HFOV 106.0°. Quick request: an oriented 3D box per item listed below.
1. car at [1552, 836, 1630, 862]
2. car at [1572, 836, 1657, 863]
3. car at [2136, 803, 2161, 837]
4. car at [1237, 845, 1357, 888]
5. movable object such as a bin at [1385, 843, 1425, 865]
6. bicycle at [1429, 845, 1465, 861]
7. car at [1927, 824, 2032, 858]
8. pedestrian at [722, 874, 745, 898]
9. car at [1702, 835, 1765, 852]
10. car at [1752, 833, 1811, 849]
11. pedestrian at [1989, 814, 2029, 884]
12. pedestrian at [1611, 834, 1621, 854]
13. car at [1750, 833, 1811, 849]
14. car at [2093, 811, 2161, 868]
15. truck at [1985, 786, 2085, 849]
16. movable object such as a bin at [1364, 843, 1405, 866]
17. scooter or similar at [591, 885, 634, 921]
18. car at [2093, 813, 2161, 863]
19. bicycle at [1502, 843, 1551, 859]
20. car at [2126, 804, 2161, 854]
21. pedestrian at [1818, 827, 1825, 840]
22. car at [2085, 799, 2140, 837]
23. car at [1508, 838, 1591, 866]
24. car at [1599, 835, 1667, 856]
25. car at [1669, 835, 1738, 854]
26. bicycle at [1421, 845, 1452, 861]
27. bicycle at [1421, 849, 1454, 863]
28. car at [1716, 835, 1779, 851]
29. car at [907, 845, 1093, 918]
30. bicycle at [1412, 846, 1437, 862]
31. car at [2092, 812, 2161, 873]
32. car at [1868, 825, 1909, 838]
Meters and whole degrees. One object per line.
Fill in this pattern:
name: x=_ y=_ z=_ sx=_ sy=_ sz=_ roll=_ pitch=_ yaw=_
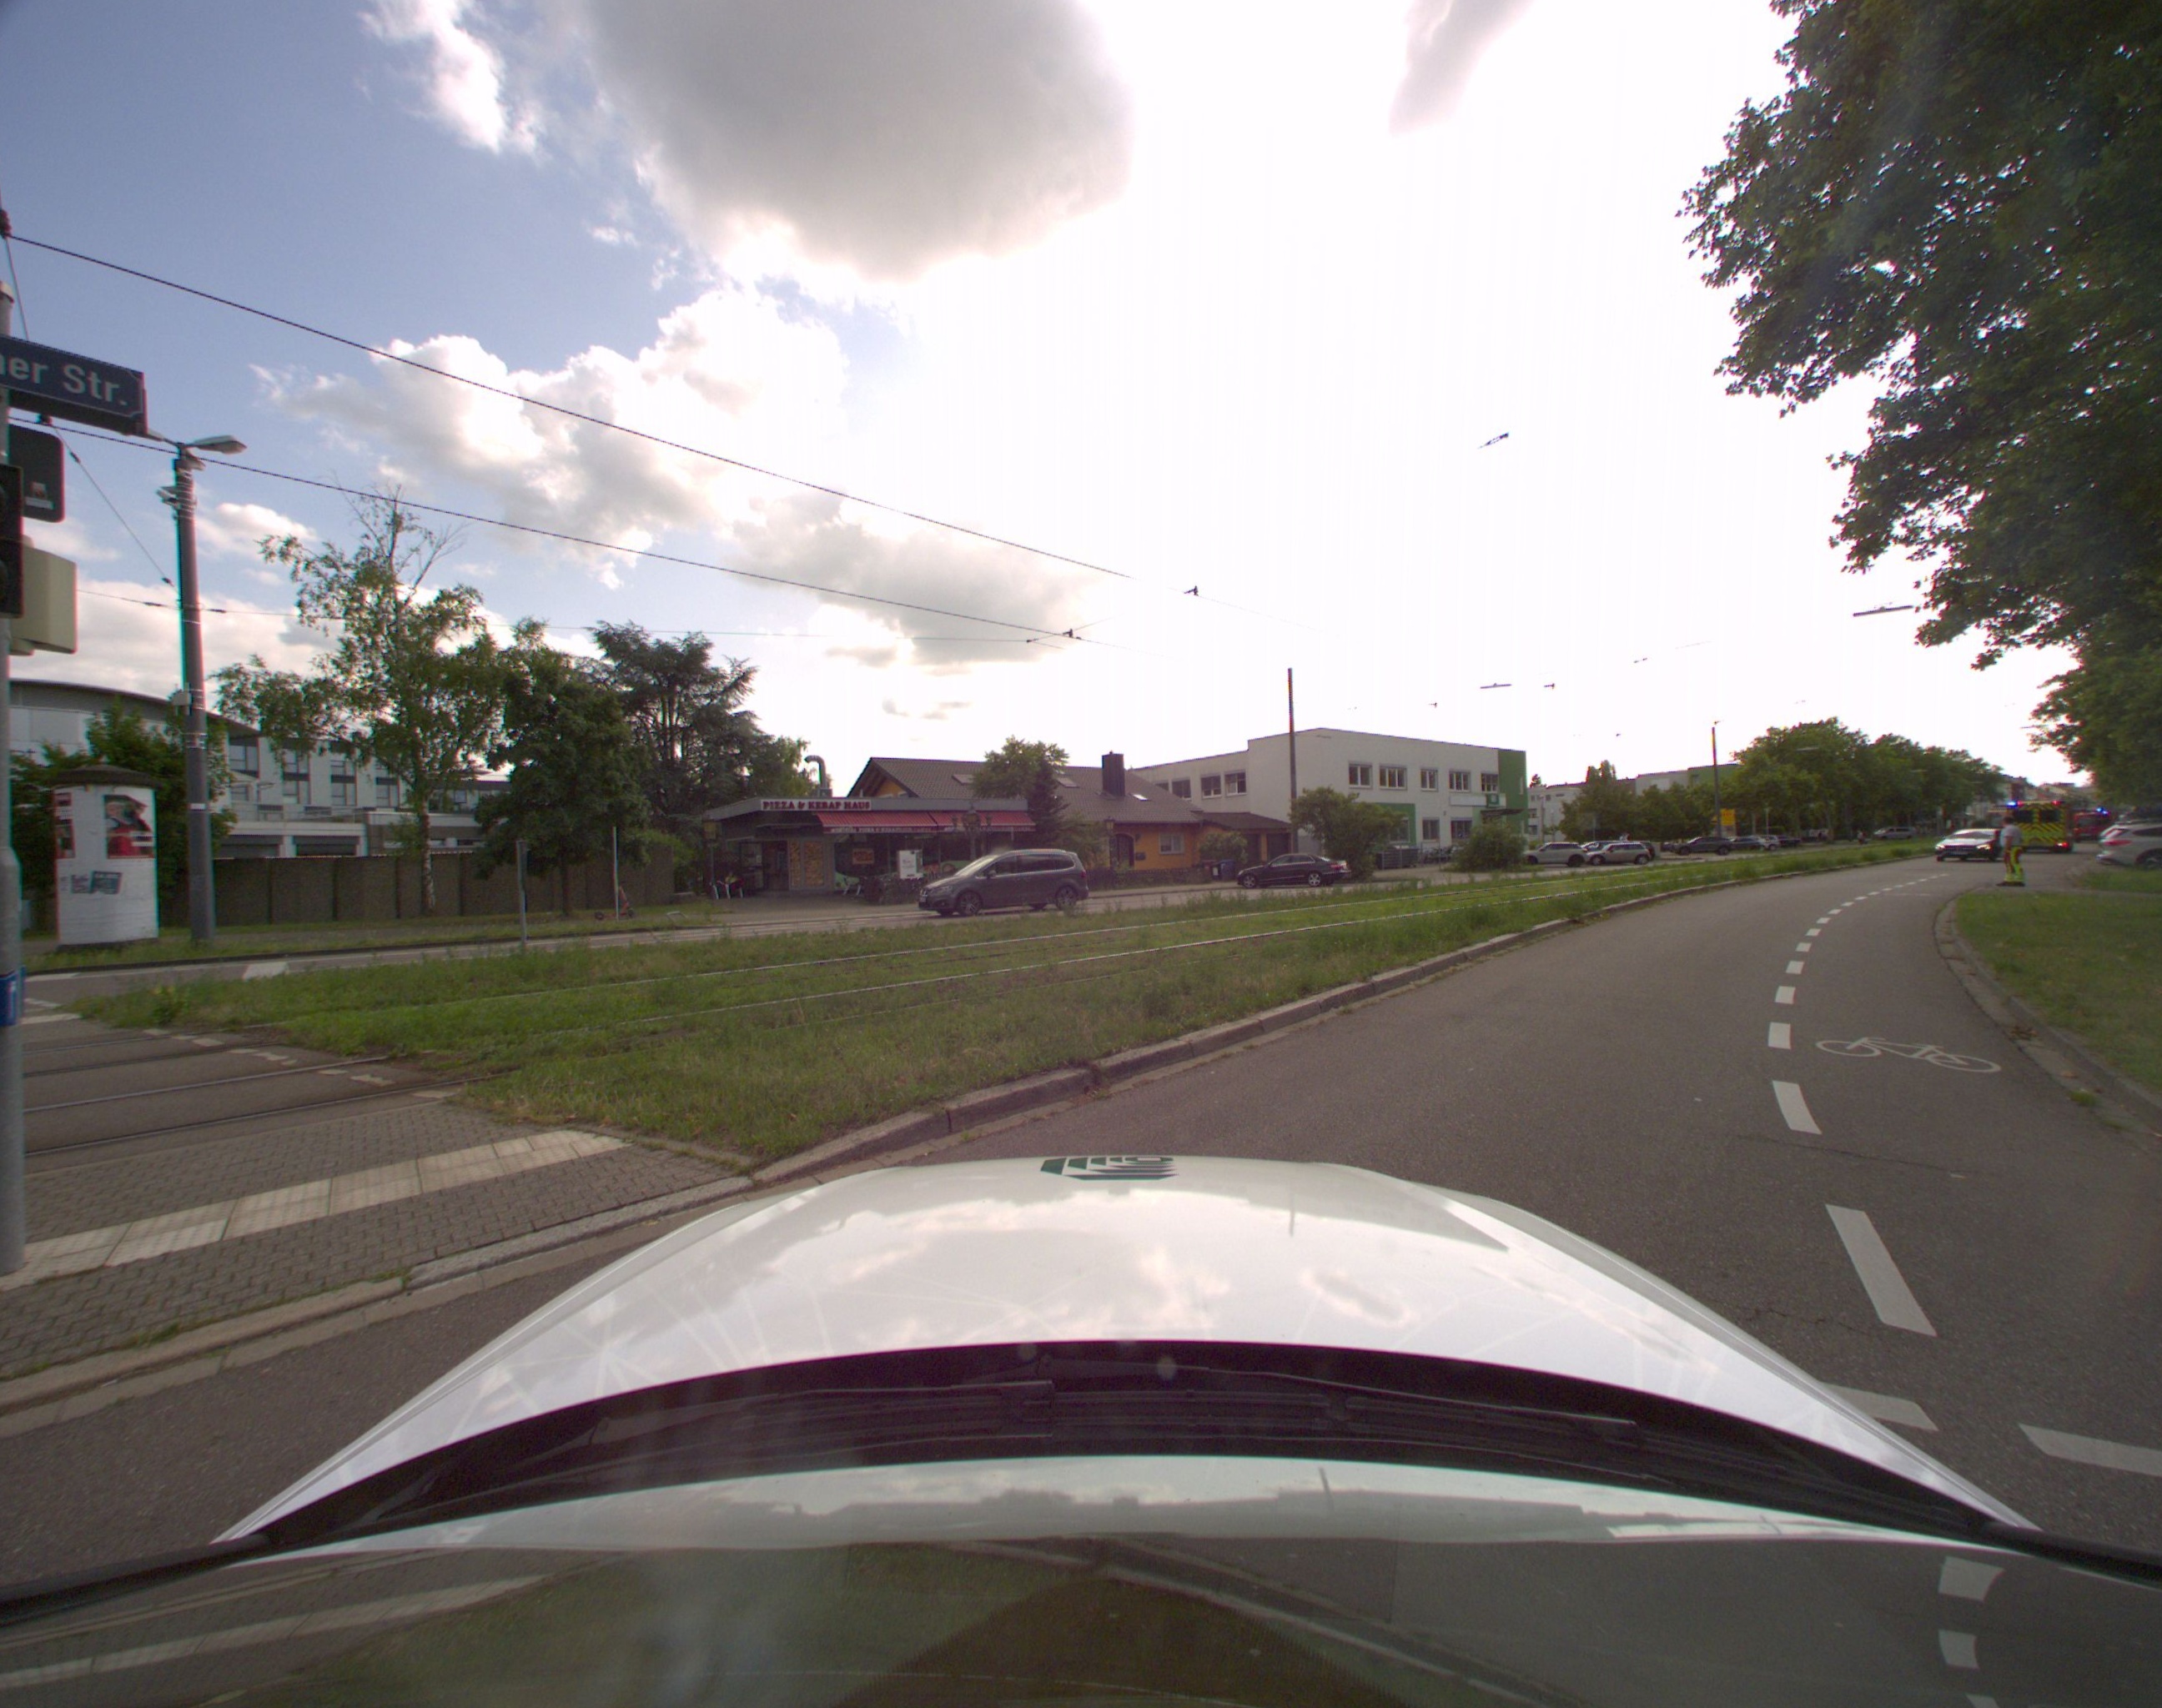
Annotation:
car: x=34.486 y=-0.312 z=55.172 sx=4.261 sy=1.629 sz=1.913 roll=-1 pitch=0 yaw=25
car: x=34.162 y=-0.267 z=52.319 sx=4.263 sy=1.629 sz=1.912 roll=-1 pitch=0 yaw=23
car: x=107.326 y=-3.319 z=78.038 sx=2.991 sy=3.330 sz=7.370 roll=-1 pitch=1 yaw=-42
car: x=9.222 y=0.548 z=34.883 sx=4.520 sy=1.580 sz=2.013 roll=-3 pitch=-1 yaw=33
movable object such as a bin: x=20.722 y=0.018 z=52.016 sx=2.140 sy=1.326 sz=1.362 roll=-2 pitch=0 yaw=-33
bicycle: x=26.731 y=-0.062 z=59.516 sx=0.763 sy=1.166 sz=2.328 roll=-2 pitch=0 yaw=-31
car: x=40.678 y=-0.606 z=36.872 sx=4.612 sy=1.393 sz=1.827 roll=-2 pitch=0 yaw=-24
pedestrian: x=-13.964 y=1.280 z=32.720 sx=0.730 sy=0.929 sz=0.769 roll=-1 pitch=1 yaw=-32
car: x=59.187 y=-0.946 z=73.968 sx=4.259 sy=1.364 sz=1.914 roll=-2 pitch=0 yaw=31
car: x=70.905 y=-1.321 z=82.535 sx=4.259 sy=1.364 sz=1.914 roll=-2 pitch=0 yaw=31
pedestrian: x=22.848 y=-0.115 z=20.043 sx=0.496 sy=1.684 sz=0.581 roll=-1 pitch=0 yaw=-35
pedestrian: x=45.504 y=-0.881 z=69.280 sx=0.590 sy=1.674 sz=0.544 roll=-2 pitch=-1 yaw=44
car: x=67.780 y=-1.239 z=78.995 sx=4.259 sy=1.364 sz=1.914 roll=-2 pitch=0 yaw=31
car: x=33.062 y=-0.457 z=23.689 sx=2.010 sy=1.644 sz=4.491 roll=0 pitch=-1 yaw=-39
truck: x=55.959 y=-2.085 z=47.718 sx=7.556 sy=3.317 sz=3.159 roll=-2 pitch=0 yaw=-36
movable object such as a bin: x=18.888 y=0.052 z=50.725 sx=2.125 sy=1.326 sz=1.362 roll=-2 pitch=0 yaw=-33
scooter or similar: x=-14.687 y=1.527 z=25.543 sx=1.105 sy=1.059 sz=0.399 roll=-1 pitch=1 yaw=-22
car: x=37.121 y=-0.559 z=26.953 sx=2.010 sy=1.644 sz=4.491 roll=0 pitch=-1 yaw=-39
bicycle: x=34.353 y=-0.235 z=62.850 sx=1.148 sy=1.166 sz=3.107 roll=-2 pitch=0 yaw=-41
car: x=45.405 y=-1.081 z=32.463 sx=2.009 sy=2.014 sz=4.507 roll=-1 pitch=-1 yaw=-36
pedestrian: x=100.499 y=-2.777 z=110.481 sx=0.649 sy=1.729 sz=0.615 roll=-1 pitch=1 yaw=-37
car: x=93.651 y=-3.191 z=73.984 sx=7.495 sy=3.330 sz=2.941 roll=-1 pitch=1 yaw=-38
car: x=29.579 y=-0.118 z=51.555 sx=4.265 sy=1.629 sz=1.912 roll=-2 pitch=0 yaw=20
car: x=41.429 y=-0.638 z=61.284 sx=4.116 sy=1.504 sz=1.872 roll=-1 pitch=0 yaw=31
car: x=51.328 y=-0.781 z=67.217 sx=4.260 sy=1.364 sz=1.914 roll=-2 pitch=0 yaw=29
bicycle: x=24.667 y=-0.059 z=56.526 sx=0.740 sy=1.081 sz=1.776 roll=-2 pitch=0 yaw=-39
bicycle: x=25.869 y=0.148 z=59.151 sx=0.733 sy=0.970 sz=2.137 roll=-2 pitch=0 yaw=-32
car: x=61.989 y=-0.998 z=75.788 sx=4.259 sy=1.364 sz=1.914 roll=-2 pitch=0 yaw=31
car: x=-2.219 y=0.696 z=22.697 sx=4.755 sy=1.722 sz=1.981 roll=-2 pitch=0 yaw=-30
bicycle: x=24.590 y=0.004 z=58.282 sx=0.706 sy=1.166 sz=1.610 roll=-2 pitch=0 yaw=-20
car: x=31.024 y=-0.352 z=22.080 sx=2.010 sy=1.644 sz=4.491 roll=0 pitch=-1 yaw=-39
car: x=120.887 y=-3.397 z=121.985 sx=3.952 sy=1.837 sz=1.832 roll=0 pitch=1 yaw=22
